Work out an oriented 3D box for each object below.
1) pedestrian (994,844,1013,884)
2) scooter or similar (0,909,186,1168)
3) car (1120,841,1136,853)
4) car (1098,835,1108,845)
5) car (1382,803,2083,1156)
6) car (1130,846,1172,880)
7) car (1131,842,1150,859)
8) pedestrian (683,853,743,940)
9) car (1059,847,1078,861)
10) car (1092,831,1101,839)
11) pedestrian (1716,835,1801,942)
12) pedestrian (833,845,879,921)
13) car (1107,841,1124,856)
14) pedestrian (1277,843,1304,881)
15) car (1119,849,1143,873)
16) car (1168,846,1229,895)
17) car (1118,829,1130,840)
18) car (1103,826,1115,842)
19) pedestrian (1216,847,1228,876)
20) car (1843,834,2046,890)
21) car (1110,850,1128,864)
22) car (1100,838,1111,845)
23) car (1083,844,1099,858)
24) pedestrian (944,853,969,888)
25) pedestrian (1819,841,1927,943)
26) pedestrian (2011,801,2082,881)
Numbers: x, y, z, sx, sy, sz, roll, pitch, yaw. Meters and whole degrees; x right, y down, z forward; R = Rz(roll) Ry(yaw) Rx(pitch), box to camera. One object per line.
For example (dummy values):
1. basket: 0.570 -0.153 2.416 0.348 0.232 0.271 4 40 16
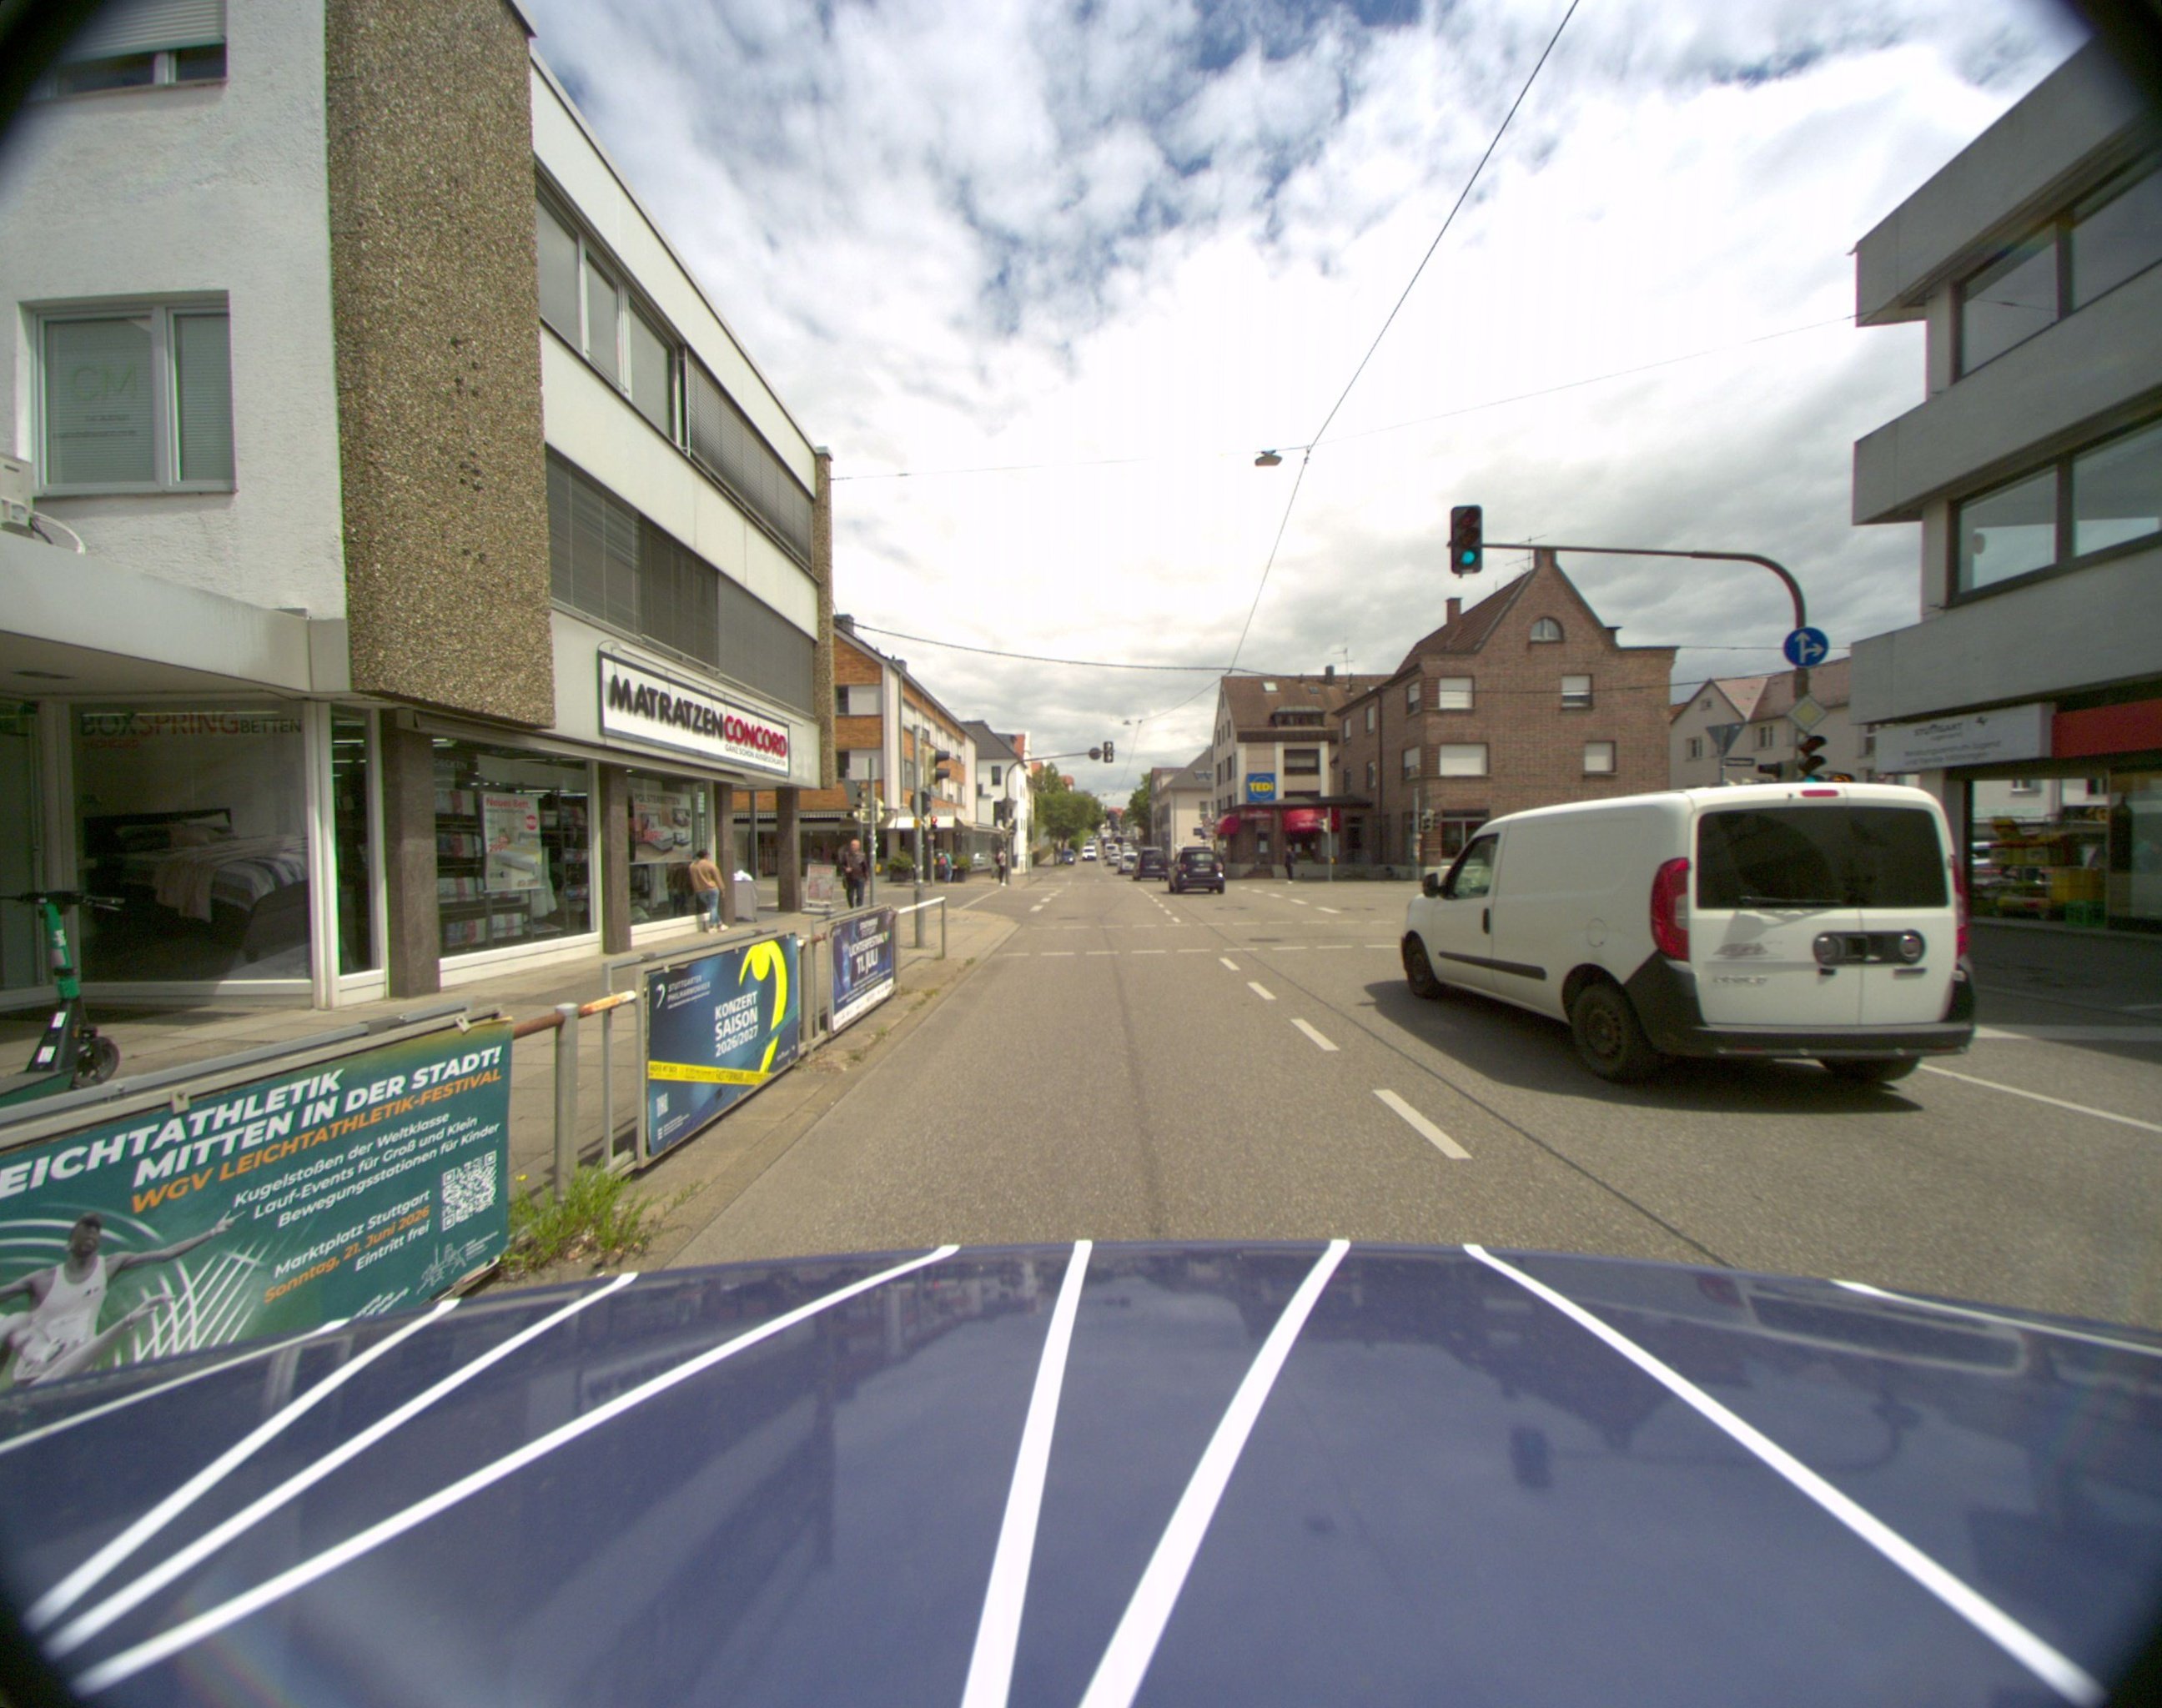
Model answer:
1. pedestrian: -3.568 0.445 34.936 0.581 1.820 0.882 1 1 17
2. scooter or similar: -6.016 0.991 4.250 0.690 1.260 1.184 0 1 -11
3. car: 7.219 -1.122 116.930 2.110 1.778 4.529 -1 1 1
4. car: 4.477 -2.880 154.427 1.858 1.957 4.192 0 0 -1
5. car: 4.177 0.636 6.035 1.950 1.810 4.278 0 0 1
6. car: 3.989 0.454 44.014 1.953 1.866 4.876 0 1 0
7. car: 7.630 -0.437 97.821 2.110 2.109 4.765 -1 1 1
8. pedestrian: -6.491 0.739 13.447 0.681 1.490 0.720 0 1 1
9. car: -1.426 -0.007 88.042 1.998 1.654 4.000 0 0 1
10. car: 3.526 -4.387 176.083 1.998 1.654 4.000 0 0 1
11. pedestrian: 10.736 0.535 12.058 0.719 1.635 0.682 -2 1 6
12. pedestrian: -5.025 0.622 17.011 0.797 1.661 0.807 0 1 1
13. car: 4.636 -0.727 103.055 1.982 1.985 5.027 0 0 -1
14. pedestrian: 9.758 0.362 35.414 0.908 1.713 0.849 -1 1 -40
15. car: 4.165 0.537 63.339 1.819 1.919 4.112 0 0 2
16. car: 4.104 0.549 26.893 1.681 1.626 2.833 0 1 0
17. car: 8.382 -3.803 149.676 2.110 2.109 4.765 -1 0 1
18. car: 6.269 -4.447 170.574 2.428 3.409 7.636 0 0 -1
19. pedestrian: 8.363 0.449 45.038 0.683 1.706 0.878 0 1 7
20. car: 28.406 0.251 25.122 4.348 1.744 2.000 0 1 2
21. car: 4.202 0.294 84.961 1.757 1.478 3.970 0 0 -1
22. car: 4.473 -2.321 141.573 1.858 1.414 4.192 0 0 -1
23. car: 1.229 -0.396 99.400 1.999 1.797 4.764 0 0 -1
24. pedestrian: -5.509 0.698 33.514 0.821 1.517 0.777 -1 1 -36
25. pedestrian: 12.613 0.583 12.131 0.820 1.546 0.846 -2 1 7
26. pedestrian: 21.401 -0.286 16.849 0.847 1.730 0.820 -2 1 -27
